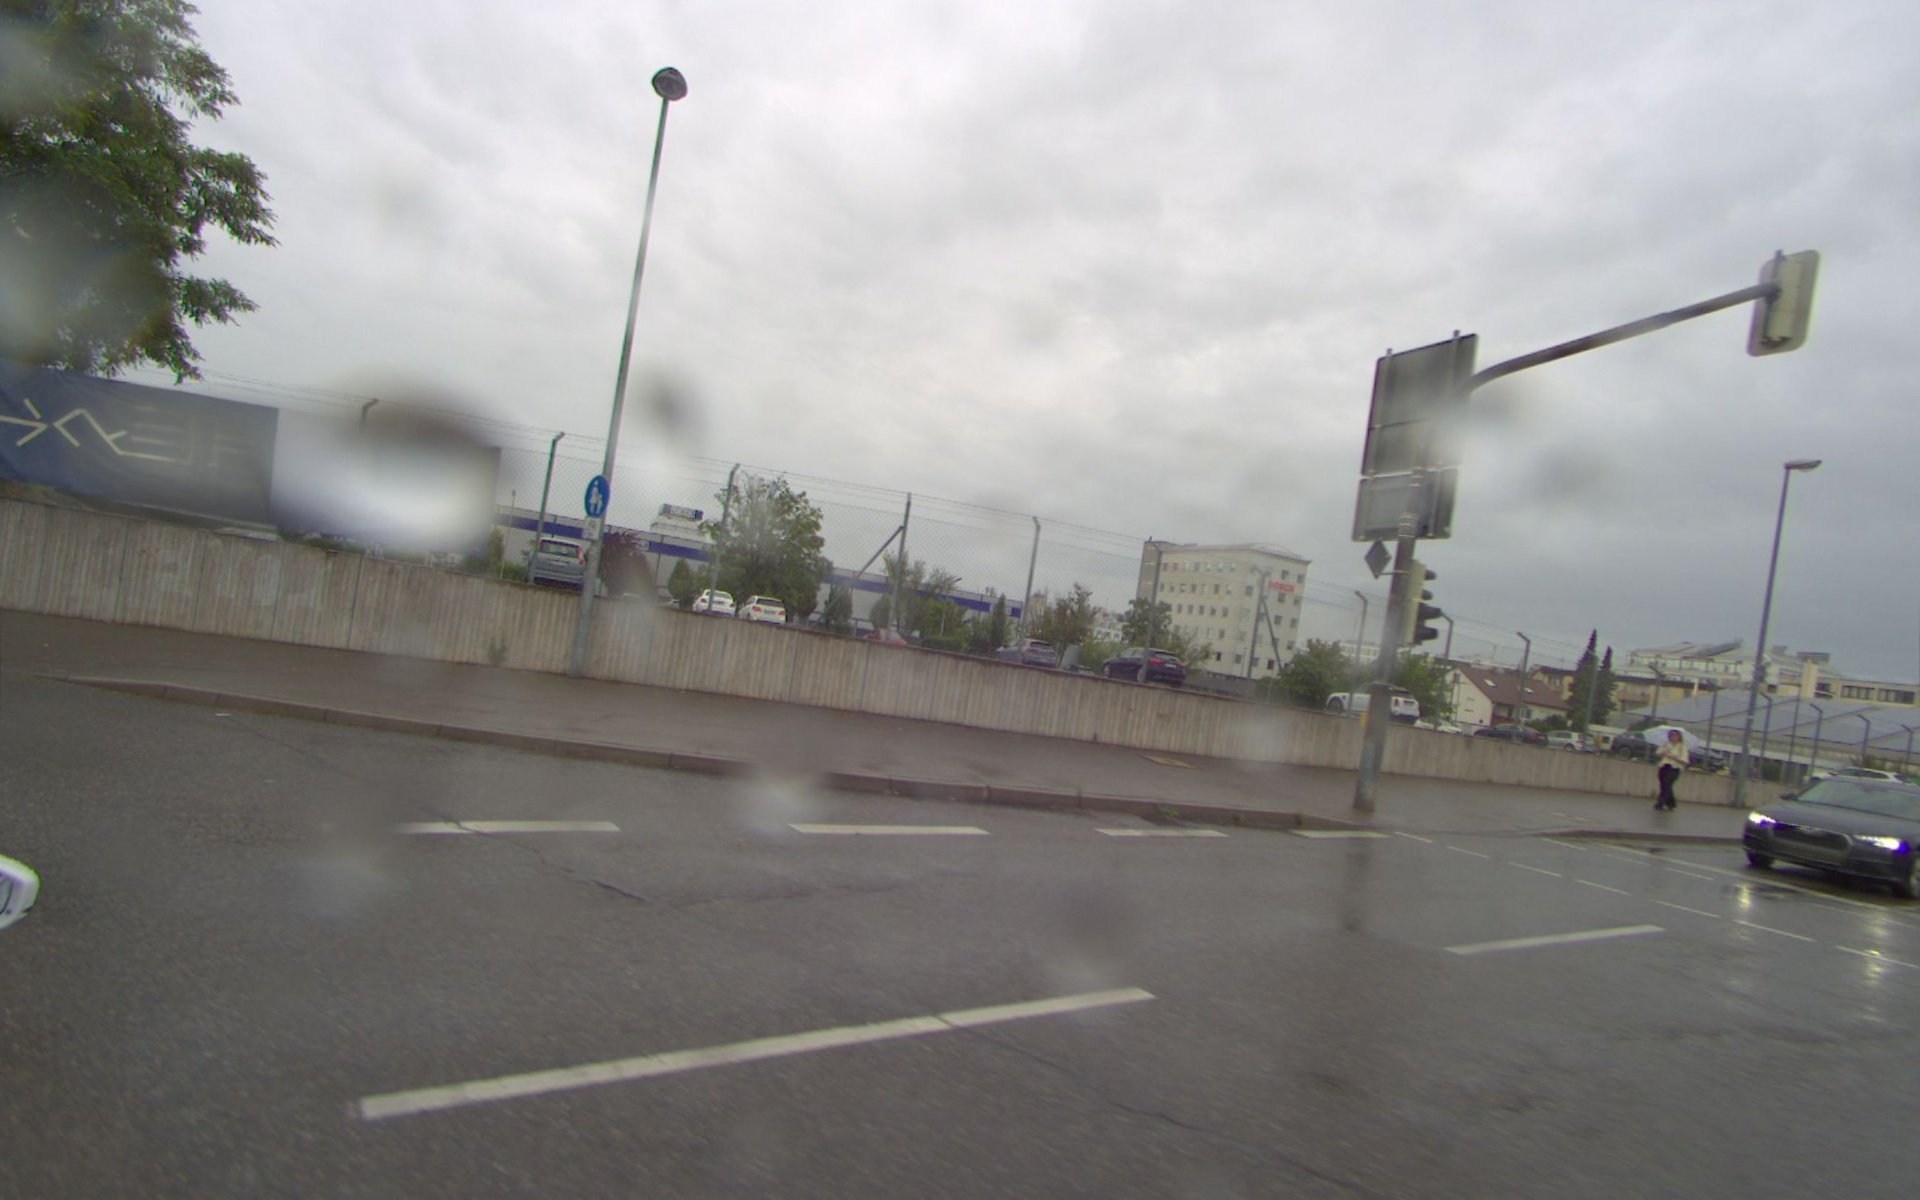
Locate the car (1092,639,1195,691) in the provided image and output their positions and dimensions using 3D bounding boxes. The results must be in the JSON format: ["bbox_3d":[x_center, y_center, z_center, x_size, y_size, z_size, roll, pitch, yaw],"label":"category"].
[{"bbox_3d":[7.188,2.530,39.790,1.692,1.577,4.162,8,-2,-27],"label":"car"}]

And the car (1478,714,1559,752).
[{"bbox_3d":[34.907,8.315,62.977,1.972,1.636,3.985,9,-2,-19],"label":"car"}]

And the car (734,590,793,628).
[{"bbox_3d":[-9.668,0.428,49.317,1.840,1.543,4.083,8,-2,-23],"label":"car"}]

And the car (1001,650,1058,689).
[{"bbox_3d":[4.598,4.619,67.146,1.975,2.037,3.978,8,-2,-24],"label":"car"}]

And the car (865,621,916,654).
[{"bbox_3d":[-4.421,2.343,63.091,1.904,1.607,3.769,9,-2,-23],"label":"car"}]

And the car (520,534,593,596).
[{"bbox_3d":[-12.554,-1.047,31.191,1.727,1.571,3.510,8,-2,-25],"label":"car"}]

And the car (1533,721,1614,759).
[{"bbox_3d":[39.229,8.936,64.431,1.972,1.636,3.985,9,-2,-19],"label":"car"}]

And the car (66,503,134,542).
[{"bbox_3d":[-44.632,-3.989,52.305,1.651,1.625,3.510,8,-2,-25],"label":"car"}]

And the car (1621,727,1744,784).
[{"bbox_3d":[31.688,6.801,44.268,1.905,1.684,3.884,8,-2,-18],"label":"car"}]

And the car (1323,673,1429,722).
[{"bbox_3d":[18.457,4.306,44.830,1.692,1.577,4.162,8,-2,-27],"label":"car"}]

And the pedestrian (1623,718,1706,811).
[{"bbox_3d":[13.857,3.231,19.794,0.865,1.631,0.861,8,3,-33],"label":"pedestrian"}]

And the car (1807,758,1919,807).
[{"bbox_3d":[45.024,9.050,49.978,1.969,1.561,3.991,8,-2,-13],"label":"car"}]

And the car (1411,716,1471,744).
[{"bbox_3d":[38.312,10.326,80.251,1.823,1.559,3.980,8,-2,-23],"label":"car"}]

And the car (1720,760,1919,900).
[{"bbox_3d":[12.754,3.214,14.054,4.349,1.370,1.812,9,-2,-31],"label":"car"}]

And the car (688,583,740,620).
[{"bbox_3d":[-11.763,0.055,47.952,1.798,1.450,4.087,8,-2,-20],"label":"car"}]

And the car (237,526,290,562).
[{"bbox_3d":[-37.859,-3.007,54.778,1.651,1.625,3.510,8,-2,-25],"label":"car"}]

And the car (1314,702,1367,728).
[{"bbox_3d":[31.727,9.603,83.993,1.823,1.559,3.980,8,-2,-23],"label":"car"}]

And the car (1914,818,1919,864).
[{"bbox_3d":[19.526,4.297,18.391,4.349,1.556,1.812,9,-2,-31],"label":"car"}]

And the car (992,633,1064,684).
[{"bbox_3d":[3.322,2.850,49.722,1.727,2.037,3.802,8,-2,-25],"label":"car"}]
